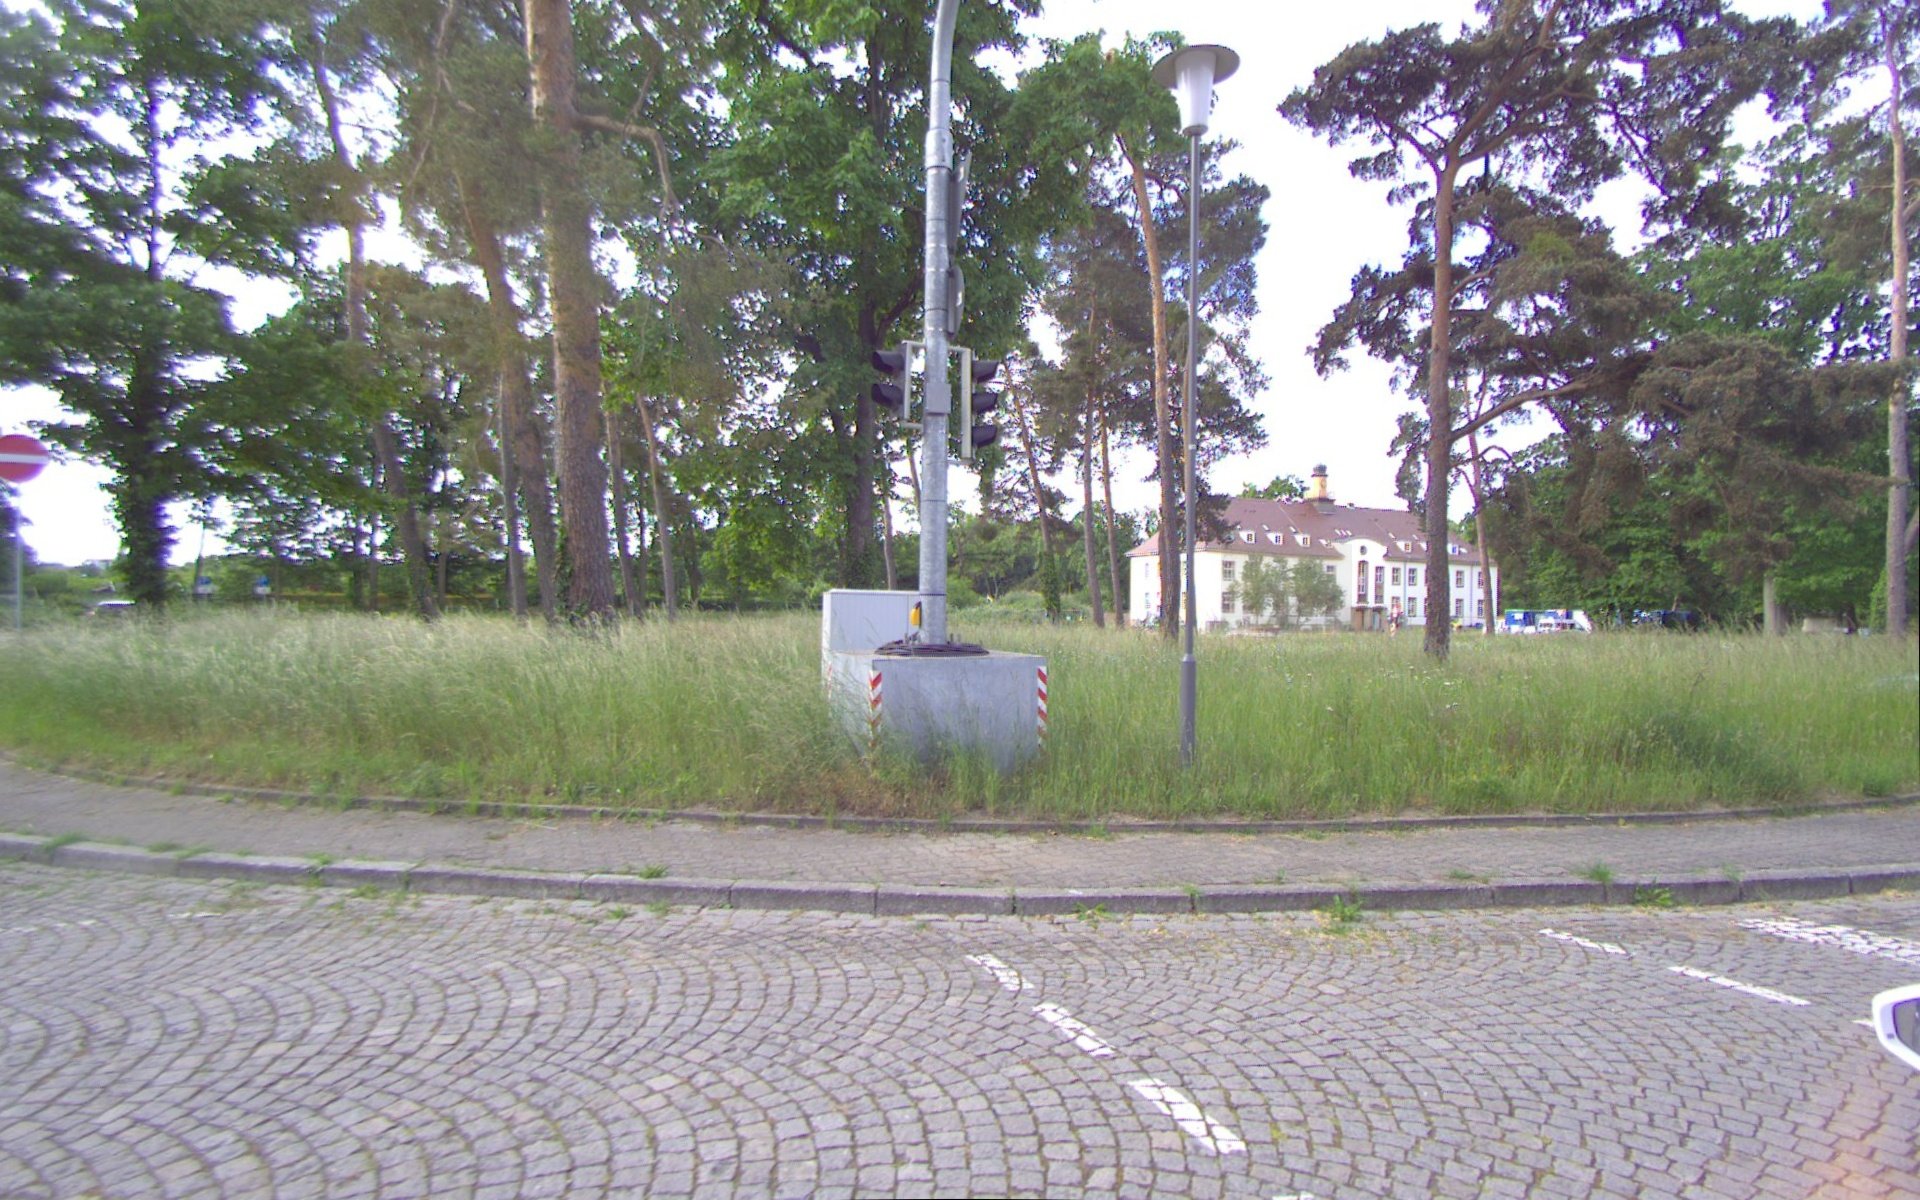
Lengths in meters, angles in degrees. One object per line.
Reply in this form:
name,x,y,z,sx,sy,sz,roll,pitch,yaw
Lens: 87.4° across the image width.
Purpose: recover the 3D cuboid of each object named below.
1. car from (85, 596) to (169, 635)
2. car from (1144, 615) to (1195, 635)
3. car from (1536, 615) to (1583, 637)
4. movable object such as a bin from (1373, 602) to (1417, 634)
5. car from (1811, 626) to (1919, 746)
car,-38.084,0.676,46.045,1.691,1.631,4.038,3,-1,-21
car,24.032,2.852,115.269,2.345,2.143,5.774,3,-2,-32
car,61.154,2.652,102.478,4.285,2.122,2.056,3,-2,-24
movable object such as a bin,52.840,2.237,122.058,2.101,3.689,6.130,2,-1,-6
car,13.342,1.131,12.147,1.800,1.490,4.321,2,0,-22
